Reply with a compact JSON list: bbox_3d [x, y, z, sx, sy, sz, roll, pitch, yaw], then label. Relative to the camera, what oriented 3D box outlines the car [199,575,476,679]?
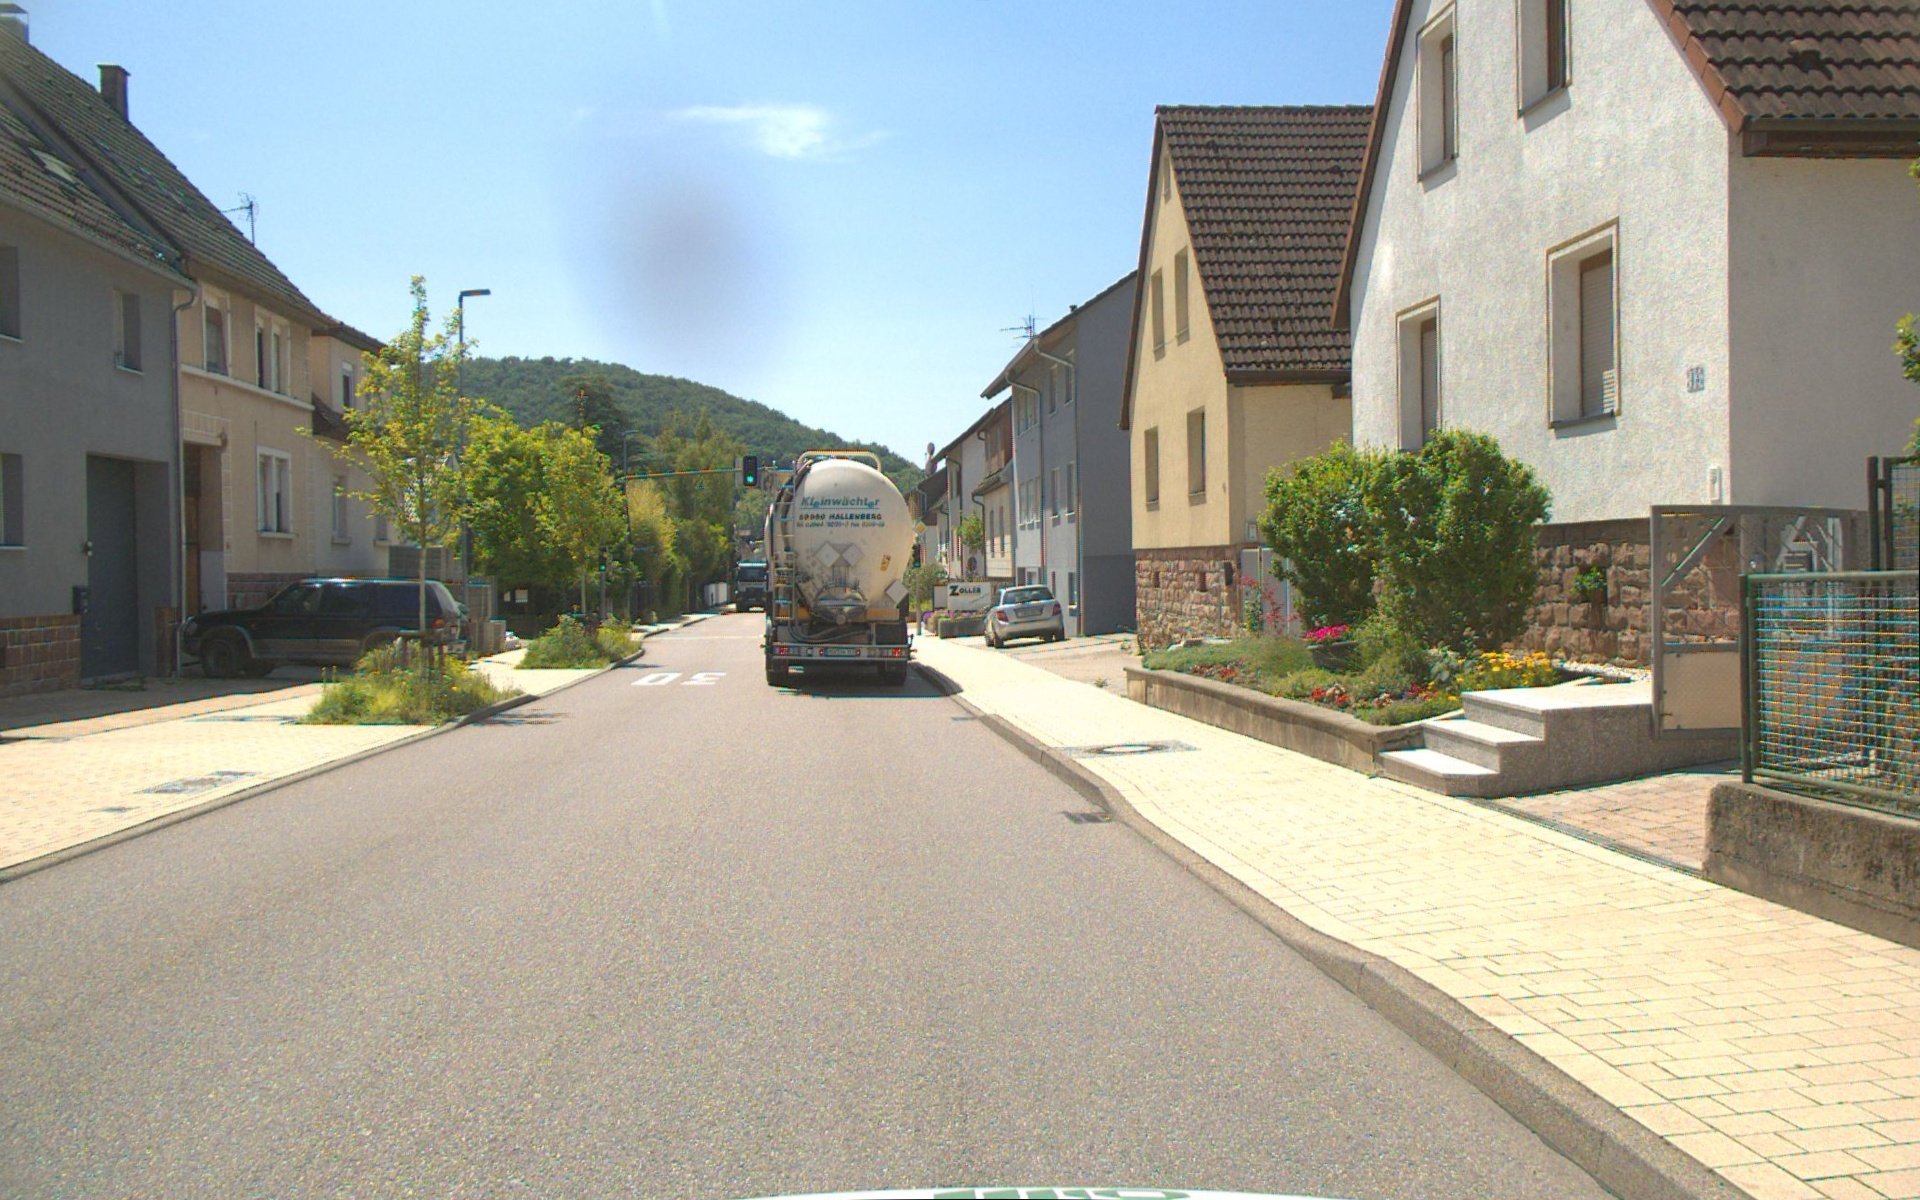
[{"bbox_3d":[-11.152,0.462,29.892,4.310,1.781,1.876,0,0,-6],"label":"car"}]

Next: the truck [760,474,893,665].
[{"bbox_3d":[-3.164,-0.655,38.007,2.755,4.006,6.090,1,0,-7],"label":"truck"}]

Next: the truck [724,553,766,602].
[{"bbox_3d":[-15.749,-1.632,121.364,2.675,3.430,8.625,1,0,-5],"label":"truck"}]

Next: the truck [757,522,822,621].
[{"bbox_3d":[-9.067,-1.328,86.947,2.794,4.761,11.316,1,-1,-8],"label":"truck"}]

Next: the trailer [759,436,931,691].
[{"bbox_3d":[-2.416,-0.608,31.643,2.743,4.071,10.309,0,0,-6],"label":"trailer"}]

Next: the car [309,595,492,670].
[{"bbox_3d":[-11.529,0.645,34.046,3.473,1.464,1.696,-1,0,30],"label":"car"}]

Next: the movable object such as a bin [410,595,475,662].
[{"bbox_3d":[-11.219,0.607,35.904,0.969,1.342,1.404,0,2,-1],"label":"movable object such as a bin"}]

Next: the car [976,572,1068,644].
[{"bbox_3d":[1.497,0.178,41.603,1.756,1.567,4.516,-5,1,-3],"label":"car"}]
